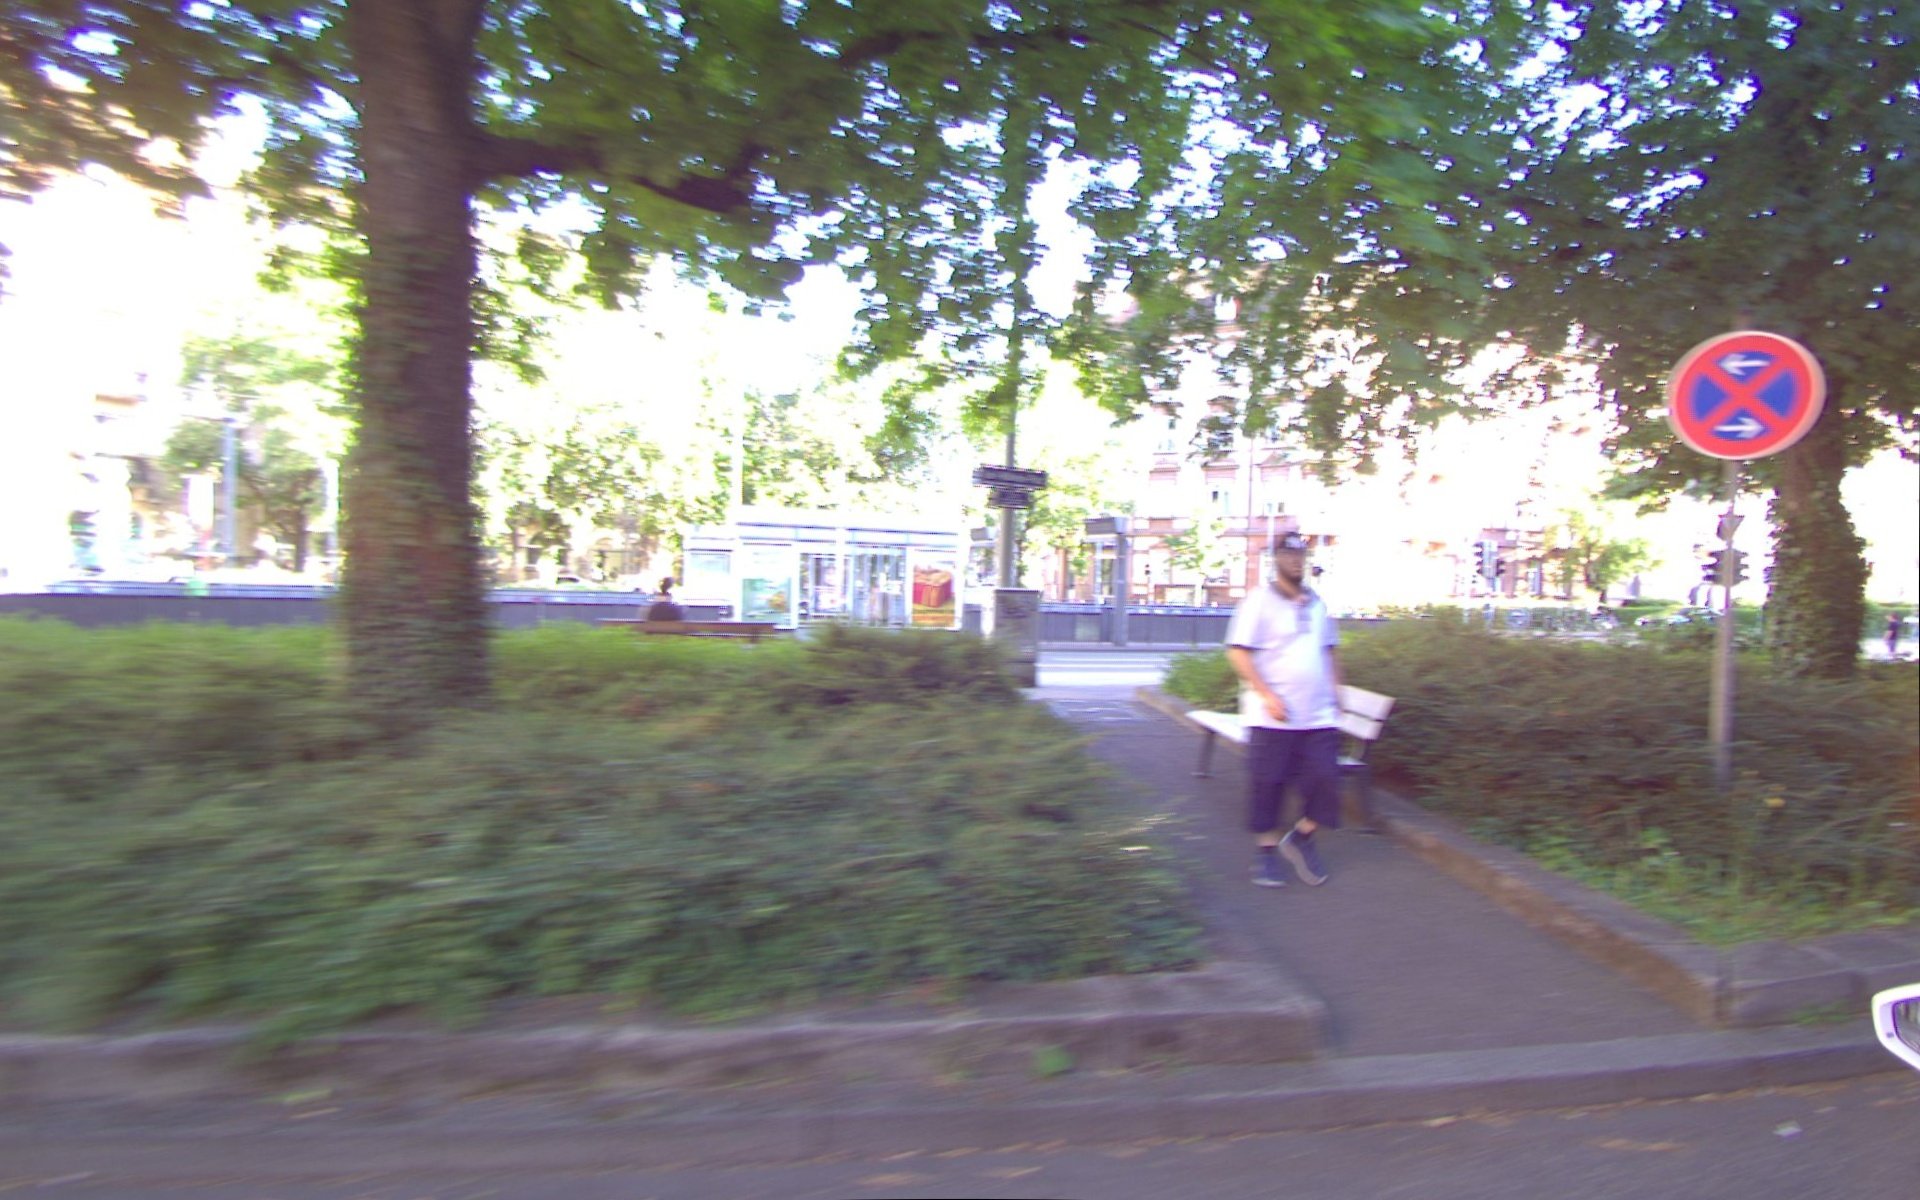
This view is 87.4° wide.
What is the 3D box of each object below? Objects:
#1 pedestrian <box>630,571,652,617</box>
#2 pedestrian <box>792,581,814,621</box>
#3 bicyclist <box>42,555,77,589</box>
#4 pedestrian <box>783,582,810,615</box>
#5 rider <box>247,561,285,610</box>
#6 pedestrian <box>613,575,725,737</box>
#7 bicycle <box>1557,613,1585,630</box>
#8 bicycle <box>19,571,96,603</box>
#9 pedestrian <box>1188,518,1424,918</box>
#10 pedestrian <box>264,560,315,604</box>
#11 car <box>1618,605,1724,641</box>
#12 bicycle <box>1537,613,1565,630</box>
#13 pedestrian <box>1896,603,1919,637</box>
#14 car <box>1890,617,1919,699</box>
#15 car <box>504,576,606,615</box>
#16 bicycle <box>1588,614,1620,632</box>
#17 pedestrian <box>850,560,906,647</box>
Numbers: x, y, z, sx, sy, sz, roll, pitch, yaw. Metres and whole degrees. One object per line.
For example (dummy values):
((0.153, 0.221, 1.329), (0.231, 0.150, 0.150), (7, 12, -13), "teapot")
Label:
((-12.251, -0.245, 38.544), (0.694, 1.717, 0.667), (3, 1, -22), "pedestrian")
((-6.436, 0.028, 41.115), (0.798, 1.564, 0.819), (3, 1, -11), "pedestrian")
((-28.923, -0.897, 32.257), (0.601, 1.068, 0.676), (2, 1, 27), "bicyclist")
((-8.247, -0.090, 50.709), (1.051, 1.652, 0.996), (1, 1, -28), "pedestrian")
((-24.791, -0.508, 35.887), (0.805, 1.704, 0.671), (4, 1, 10), "rider")
((-3.248, 0.587, 11.229), (0.884, 1.706, 0.817), (2, 1, 34), "pedestrian")
((32.126, 1.123, 52.809), (1.200, 0.873, 0.450), (2, 1, -5), "bicycle")
((-28.948, -0.405, 32.247), (0.642, 0.958, 1.740), (2, 1, 27), "bicycle")
((1.580, 0.496, 4.755), (0.900, 1.706, 0.780), (1, 1, 10), "pedestrian")
((-30.387, -0.820, 45.529), (1.238, 1.937, 1.491), (2, 1, 30), "pedestrian")
((33.712, 1.068, 47.656), (4.307, 1.517, 1.991), (-1, 2, -20), "car")
((30.955, 1.126, 52.625), (1.200, 0.873, 0.450), (2, 1, -5), "bicycle")
((57.656, 1.226, 60.639), (1.368, 1.988, 1.155), (1, 1, -25), "pedestrian")
((19.085, 1.107, 18.162), (1.782, 1.564, 3.959), (0, -1, 17), "car")
((-18.543, -0.207, 46.115), (3.922, 1.702, 1.929), (1, 1, -44), "car")
((34.395, 1.226, 53.648), (1.419, 0.873, 0.450), (2, 1, -5), "bicycle")
((-1.887, 0.080, 23.019), (1.005, 1.923, 0.907), (1, 1, -22), "pedestrian")
